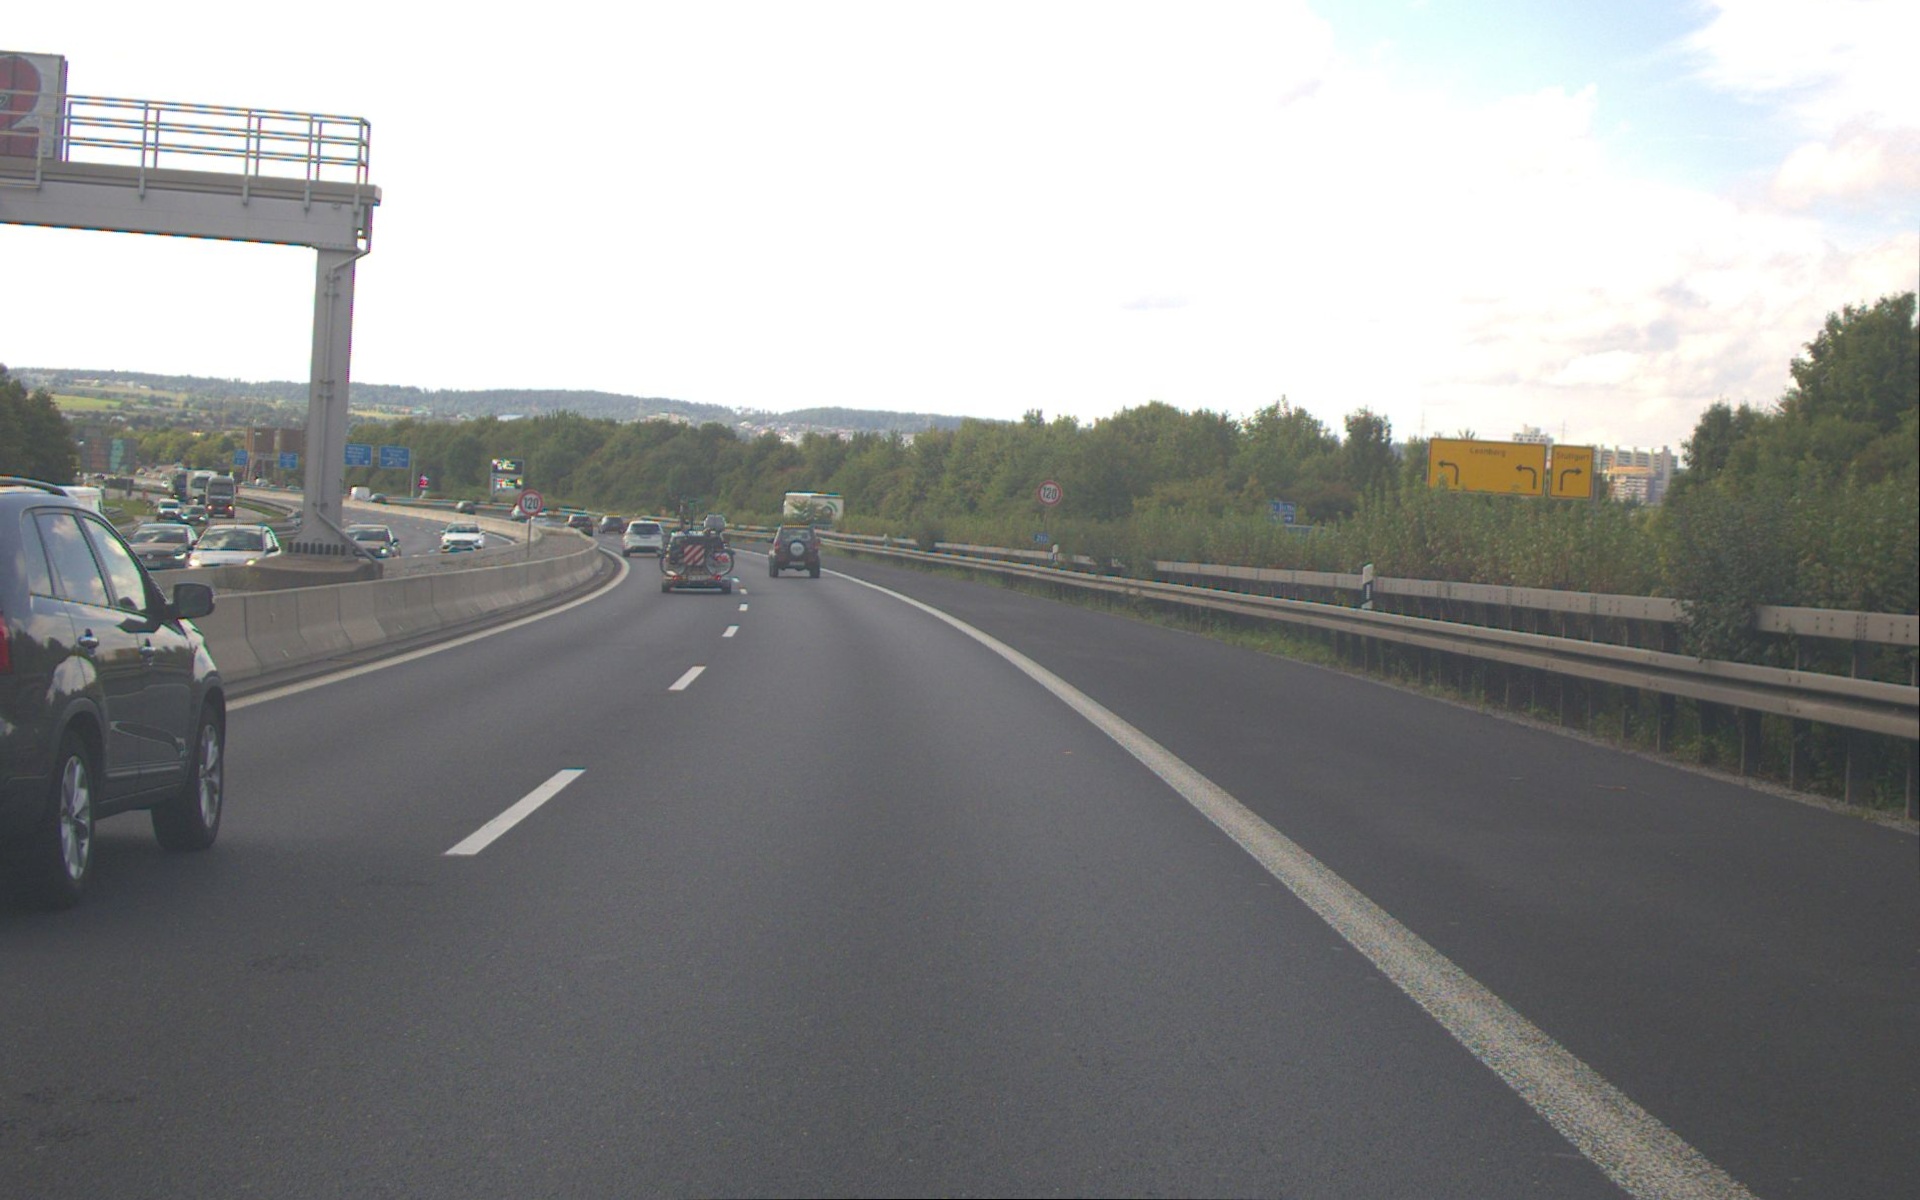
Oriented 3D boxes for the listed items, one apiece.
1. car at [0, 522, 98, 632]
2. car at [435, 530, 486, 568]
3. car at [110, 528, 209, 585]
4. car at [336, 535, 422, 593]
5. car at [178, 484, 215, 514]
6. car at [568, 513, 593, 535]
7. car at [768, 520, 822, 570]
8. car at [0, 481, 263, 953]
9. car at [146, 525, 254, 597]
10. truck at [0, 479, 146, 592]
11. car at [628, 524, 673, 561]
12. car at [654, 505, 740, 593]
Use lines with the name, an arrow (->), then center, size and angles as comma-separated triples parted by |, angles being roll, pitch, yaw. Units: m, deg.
car -> -14.339, -0.386, 50.768 | 1.993, 1.531, 5.286 | 1, 1, -1
car -> -22.053, -2.275, 151.903 | 1.764, 1.575, 4.933 | 1, 1, -3
car -> -20.489, -1.142, 88.106 | 1.665, 1.391, 4.602 | 1, 1, -3
car -> -17.119, -1.090, 101.464 | 1.993, 1.635, 4.001 | 1, 1, -2
car -> -52.777, -6.992, 237.697 | 1.993, 2.007, 4.001 | 1, 1, -5
car -> -28.721, -5.760, 260.065 | 1.604, 1.552, 4.001 | 1, 0, -11
car -> -5.540, -1.869, 115.171 | 1.587, 1.591, 4.097 | 1, 1, -6
car -> -4.455, 0.363, 15.174 | 1.817, 1.730, 5.187 | 1, 1, -2
car -> -15.826, -0.834, 71.732 | 1.565, 1.445, 3.889 | 1, 1, -3
truck -> -18.534, -1.332, 71.032 | 2.183, 2.218, 5.571 | 1, 1, -1
car -> -14.678, -2.724, 162.943 | 1.993, 1.678, 4.001 | 1, 0, -7
car -> -6.694, -1.321, 87.863 | 2.030, 2.144, 4.001 | 1, 2, -3
